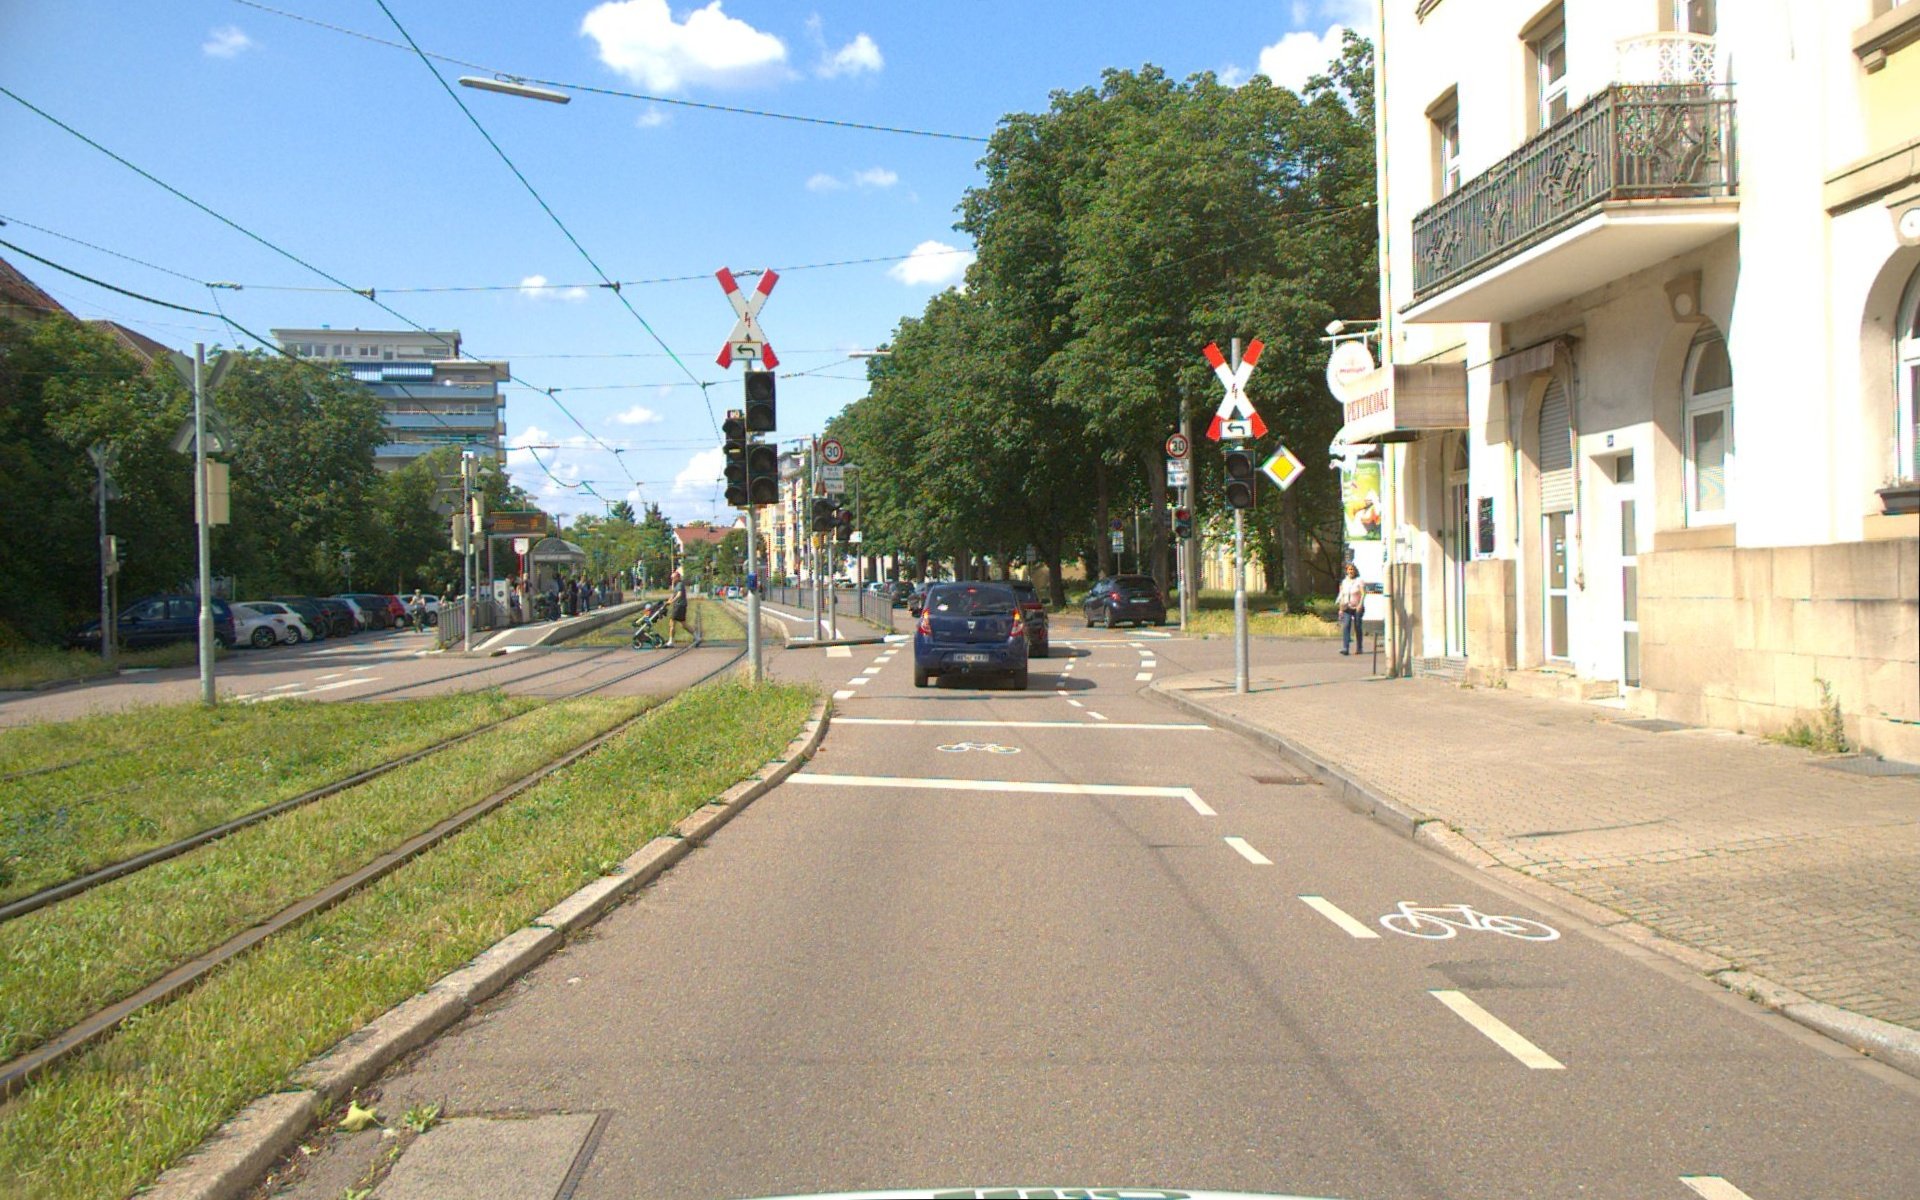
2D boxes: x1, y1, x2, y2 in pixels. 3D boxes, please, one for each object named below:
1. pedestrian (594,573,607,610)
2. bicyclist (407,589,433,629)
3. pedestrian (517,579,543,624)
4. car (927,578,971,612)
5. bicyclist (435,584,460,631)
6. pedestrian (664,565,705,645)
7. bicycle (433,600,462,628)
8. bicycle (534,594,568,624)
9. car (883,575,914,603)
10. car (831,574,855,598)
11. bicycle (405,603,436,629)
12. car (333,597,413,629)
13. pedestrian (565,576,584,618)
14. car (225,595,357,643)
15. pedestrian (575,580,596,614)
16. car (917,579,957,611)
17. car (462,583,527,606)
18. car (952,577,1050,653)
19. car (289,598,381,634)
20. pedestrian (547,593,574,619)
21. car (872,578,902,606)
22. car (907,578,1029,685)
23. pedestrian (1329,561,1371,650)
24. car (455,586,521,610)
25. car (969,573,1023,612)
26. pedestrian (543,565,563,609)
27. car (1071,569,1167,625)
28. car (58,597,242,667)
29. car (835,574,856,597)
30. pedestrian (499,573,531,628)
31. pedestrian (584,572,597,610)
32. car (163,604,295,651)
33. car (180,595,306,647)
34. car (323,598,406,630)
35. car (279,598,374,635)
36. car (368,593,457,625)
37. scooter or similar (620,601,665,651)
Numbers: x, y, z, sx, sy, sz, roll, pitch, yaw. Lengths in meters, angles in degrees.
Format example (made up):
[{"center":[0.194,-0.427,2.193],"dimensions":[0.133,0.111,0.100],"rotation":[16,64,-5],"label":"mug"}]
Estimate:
[{"center":[-20.292,-0.463,93.427],"dimensions":[0.649,2.049,0.801],"rotation":[-2,1,-14],"label":"pedestrian"},{"center":[-21.912,0.361,67.140],"dimensions":[0.770,1.609,0.863],"rotation":[-2,1,-5],"label":"bicyclist"},{"center":[-15.434,0.049,59.398],"dimensions":[0.650,1.596,0.685],"rotation":[-3,1,-1],"label":"pedestrian"},{"center":[-0.559,-0.252,79.368],"dimensions":[1.824,1.470,3.998],"rotation":[-3,1,-3],"label":"car"},{"center":[-23.298,0.320,75.236],"dimensions":[0.932,2.048,1.569],"rotation":[-3,1,-16],"label":"bicyclist"},{"center":[-6.472,0.117,38.880],"dimensions":[0.855,1.806,1.001],"rotation":[-2,0,-9],"label":"pedestrian"},{"center":[-23.305,0.650,75.261],"dimensions":[1.135,1.198,1.780],"rotation":[-3,0,-15],"label":"bicycle"},{"center":[-14.645,0.309,59.271],"dimensions":[0.672,0.991,1.771],"rotation":[-4,1,1],"label":"bicycle"},{"center":[-3.829,-0.693,101.951],"dimensions":[1.792,1.564,3.998],"rotation":[-2,1,-3],"label":"car"},{"center":[-9.104,-1.095,128.912],"dimensions":[1.794,1.792,3.998],"rotation":[-2,1,-3],"label":"car"},{"center":[-21.924,0.657,67.227],"dimensions":[0.667,0.987,2.176],"rotation":[-2,1,-5],"label":"bicycle"},{"center":[-27.227,0.586,76.751],"dimensions":[1.427,1.332,3.235],"rotation":[-1,1,35],"label":"car"},{"center":[-16.541,-0.133,70.948],"dimensions":[0.592,1.796,0.639],"rotation":[-2,1,1],"label":"pedestrian"},{"center":[-23.726,0.658,58.755],"dimensions":[1.660,1.482,3.978],"rotation":[-2,1,41],"label":"car"},{"center":[-16.210,-0.132,71.590],"dimensions":[0.642,1.450,0.562],"rotation":[-2,1,29],"label":"pedestrian"},{"center":[-1.188,-0.280,84.068],"dimensions":[1.815,1.542,3.998],"rotation":[-2,1,-3],"label":"car"},{"center":[-31.995,-0.371,113.663],"dimensions":[3.968,1.472,1.701],"rotation":[-2,1,-43],"label":"car"},{"center":[0.766,0.255,33.044],"dimensions":[1.666,1.391,3.513],"rotation":[1,1,-3],"label":"car"},{"center":[-25.419,0.651,67.332],"dimensions":[1.427,1.332,3.235],"rotation":[-1,1,35],"label":"car"},{"center":[-16.190,0.233,67.015],"dimensions":[0.907,1.006,0.796],"rotation":[-3,-1,-7],"label":"pedestrian"},{"center":[-4.905,-0.559,110.547],"dimensions":[1.587,1.780,3.993],"rotation":[-2,1,-8],"label":"car"},{"center":[0.086,0.419,25.245],"dimensions":[1.732,1.487,3.775],"rotation":[0,1,-1],"label":"car"},{"center":[7.558,0.106,32.064],"dimensions":[0.658,1.677,0.764],"rotation":[-2,0,20],"label":"pedestrian"},{"center":[-30.980,-0.133,108.592],"dimensions":[1.606,1.410,3.985],"rotation":[-1,1,36],"label":"car"},{"center":[1.437,-0.319,67.889],"dimensions":[1.824,1.470,3.998],"rotation":[-3,1,-3],"label":"car"},{"center":[-16.162,-0.529,65.714],"dimensions":[0.643,1.722,0.655],"rotation":[-2,1,-8],"label":"pedestrian"},{"center":[4.485,-0.106,47.117],"dimensions":[1.733,1.458,3.896],"rotation":[-3,1,-9],"label":"car"},{"center":[-21.700,0.816,44.412],"dimensions":[1.695,1.669,4.108],"rotation":[-1,1,42],"label":"car"},{"center":[-9.397,-1.171,135.019],"dimensions":[1.635,1.802,3.996],"rotation":[-2,1,-5],"label":"car"},{"center":[-14.671,0.014,54.506],"dimensions":[0.699,1.756,0.666],"rotation":[-1,1,33],"label":"pedestrian"},{"center":[-17.293,-0.430,77.438],"dimensions":[0.480,1.742,0.461],"rotation":[-2,1,-18],"label":"pedestrian"},{"center":[-22.219,0.827,50.347],"dimensions":[1.517,1.258,3.369],"rotation":[-1,1,42],"label":"car"},{"center":[-23.061,0.662,53.249],"dimensions":[1.518,1.531,3.367],"rotation":[-1,1,43],"label":"car"},{"center":[-26.497,0.613,73.671],"dimensions":[1.427,1.332,3.235],"rotation":[-1,1,35],"label":"car"},{"center":[-24.823,0.646,64.867],"dimensions":[1.426,1.332,3.238],"rotation":[-1,1,33],"label":"car"},{"center":[-27.650,0.430,83.595],"dimensions":[1.684,1.391,3.979],"rotation":[-2,1,40],"label":"car"},{"center":[-7.377,0.603,38.453],"dimensions":[0.937,1.083,0.795],"rotation":[-4,1,-9],"label":"scooter or similar"}]
